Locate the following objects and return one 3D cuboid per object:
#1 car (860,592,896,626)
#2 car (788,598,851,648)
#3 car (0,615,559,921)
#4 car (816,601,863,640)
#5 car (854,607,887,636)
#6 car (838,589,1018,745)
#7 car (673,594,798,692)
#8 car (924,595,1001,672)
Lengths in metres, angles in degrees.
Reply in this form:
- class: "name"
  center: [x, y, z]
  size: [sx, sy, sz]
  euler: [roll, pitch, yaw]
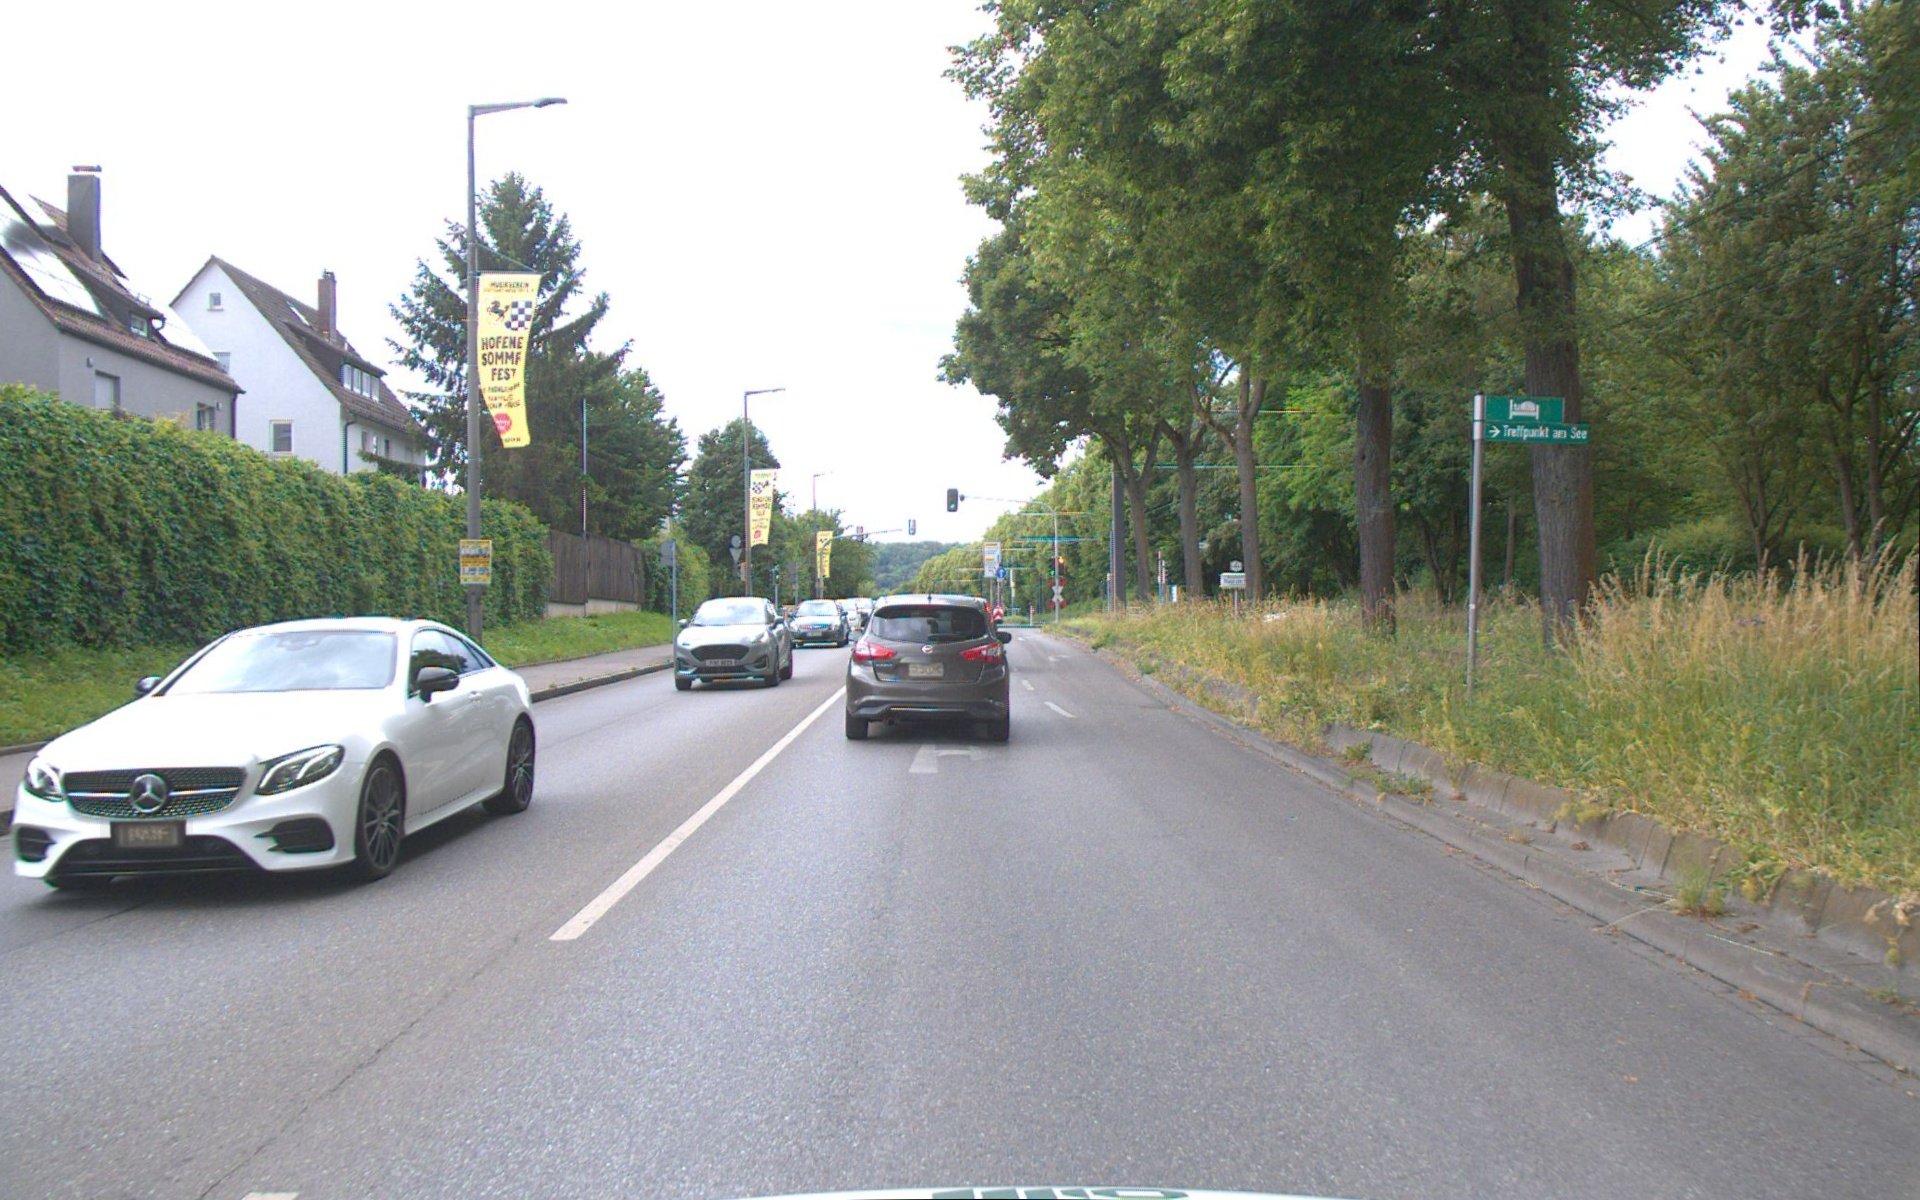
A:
- class: "car"
  center: [-3.949, 0.425, 80.251]
  size: [1.610, 1.507, 4.106]
  euler: [-2, 0, -2]
- class: "car"
  center: [-4.509, 0.709, 53.434]
  size: [1.693, 1.490, 4.153]
  euler: [-2, 0, -1]
- class: "car"
  center: [-4.041, 0.856, 10.452]
  size: [1.847, 1.407, 4.491]
  euler: [-2, 0, 0]
- class: "car"
  center: [-5.086, 0.843, 70.079]
  size: [1.585, 1.487, 4.072]
  euler: [-4, 0, 0]
- class: "car"
  center: [-5.093, 1.196, 94.739]
  size: [1.776, 1.550, 4.175]
  euler: [-2, 0, -2]
- class: "car"
  center: [-0.324, 0.665, 18.983]
  size: [1.798, 1.545, 4.482]
  euler: [1, 0, 0]
- class: "car"
  center: [-3.966, 0.715, 29.742]
  size: [1.716, 1.545, 3.999]
  euler: [-3, 0, -1]
- class: "car"
  center: [0.047, 0.656, 34.342]
  size: [1.507, 1.504, 3.764]
  euler: [0, 0, 0]
